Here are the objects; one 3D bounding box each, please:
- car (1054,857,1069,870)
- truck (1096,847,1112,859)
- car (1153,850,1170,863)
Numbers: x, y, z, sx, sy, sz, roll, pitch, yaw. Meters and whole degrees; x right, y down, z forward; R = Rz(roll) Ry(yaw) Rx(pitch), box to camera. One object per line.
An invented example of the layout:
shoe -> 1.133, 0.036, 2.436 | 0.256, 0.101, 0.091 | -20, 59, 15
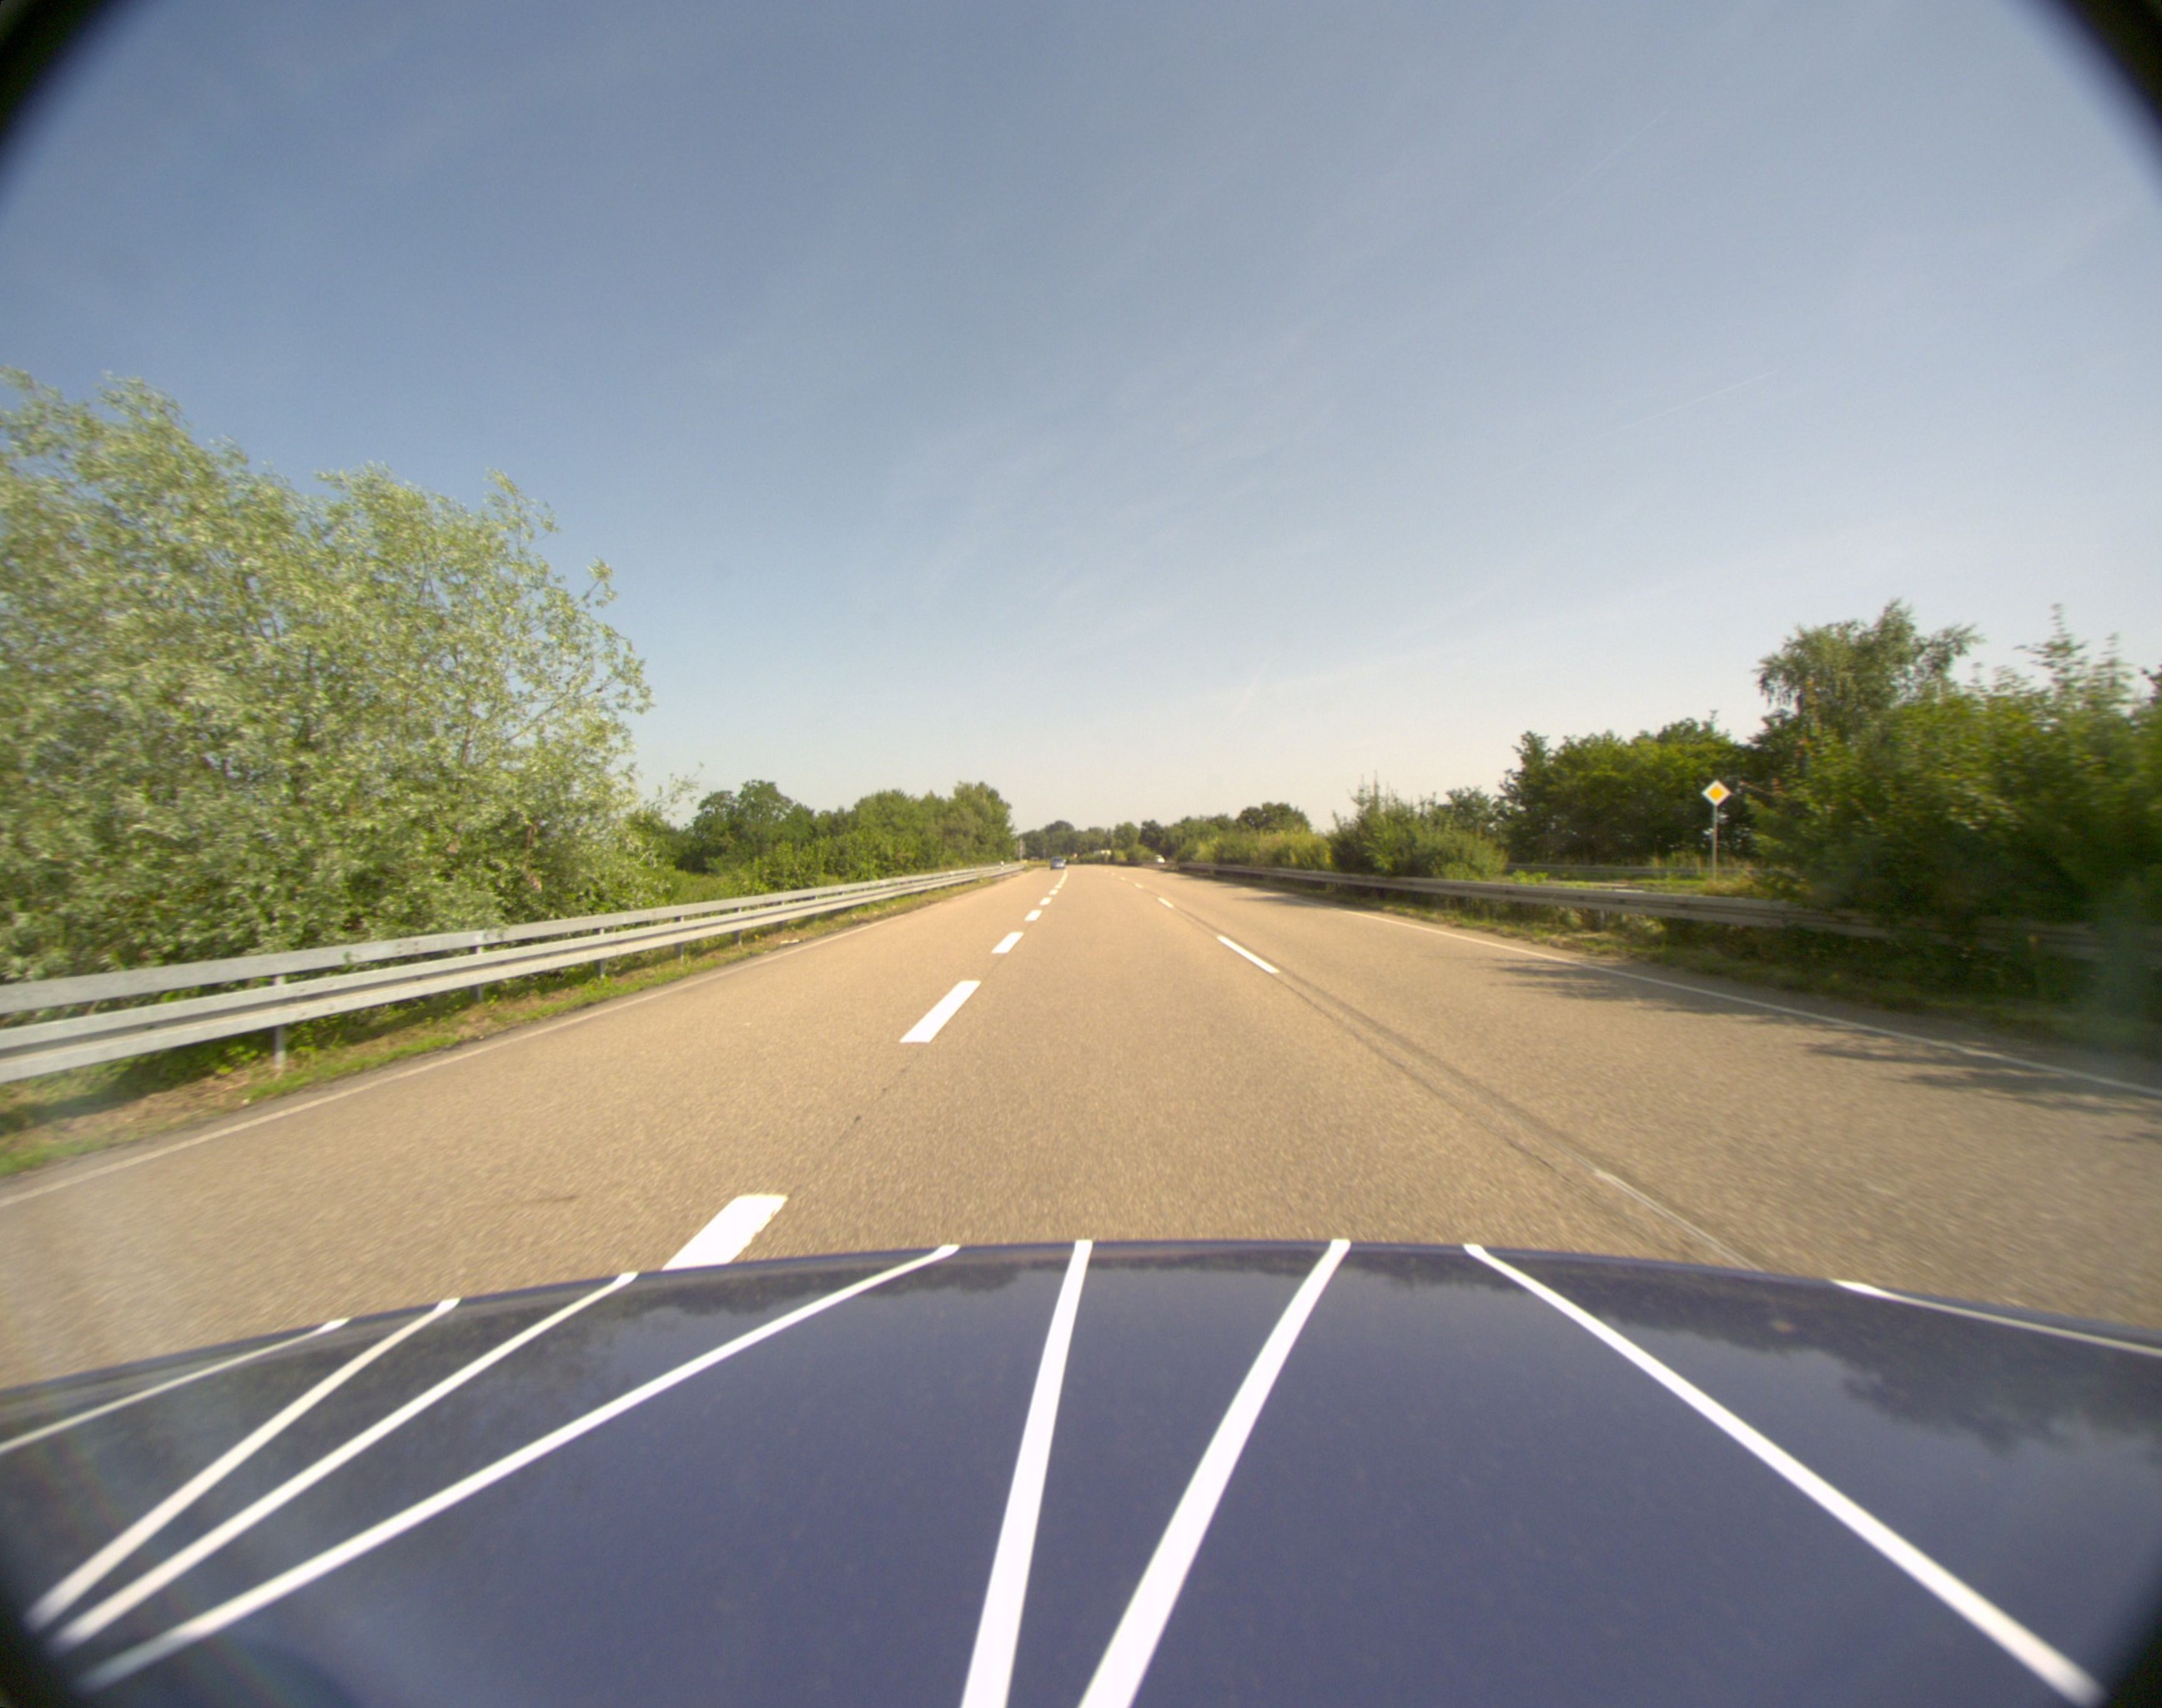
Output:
car -> -2.338, 1.113, 92.010 | 1.703, 1.474, 3.600 | -3, -1, -2
truck -> 6.367, -0.305, 213.261 | 2.877, 3.258, 14.110 | -2, 1, -5
car -> 11.569, 0.334, 109.305 | 1.983, 1.567, 4.000 | -5, 0, 0
